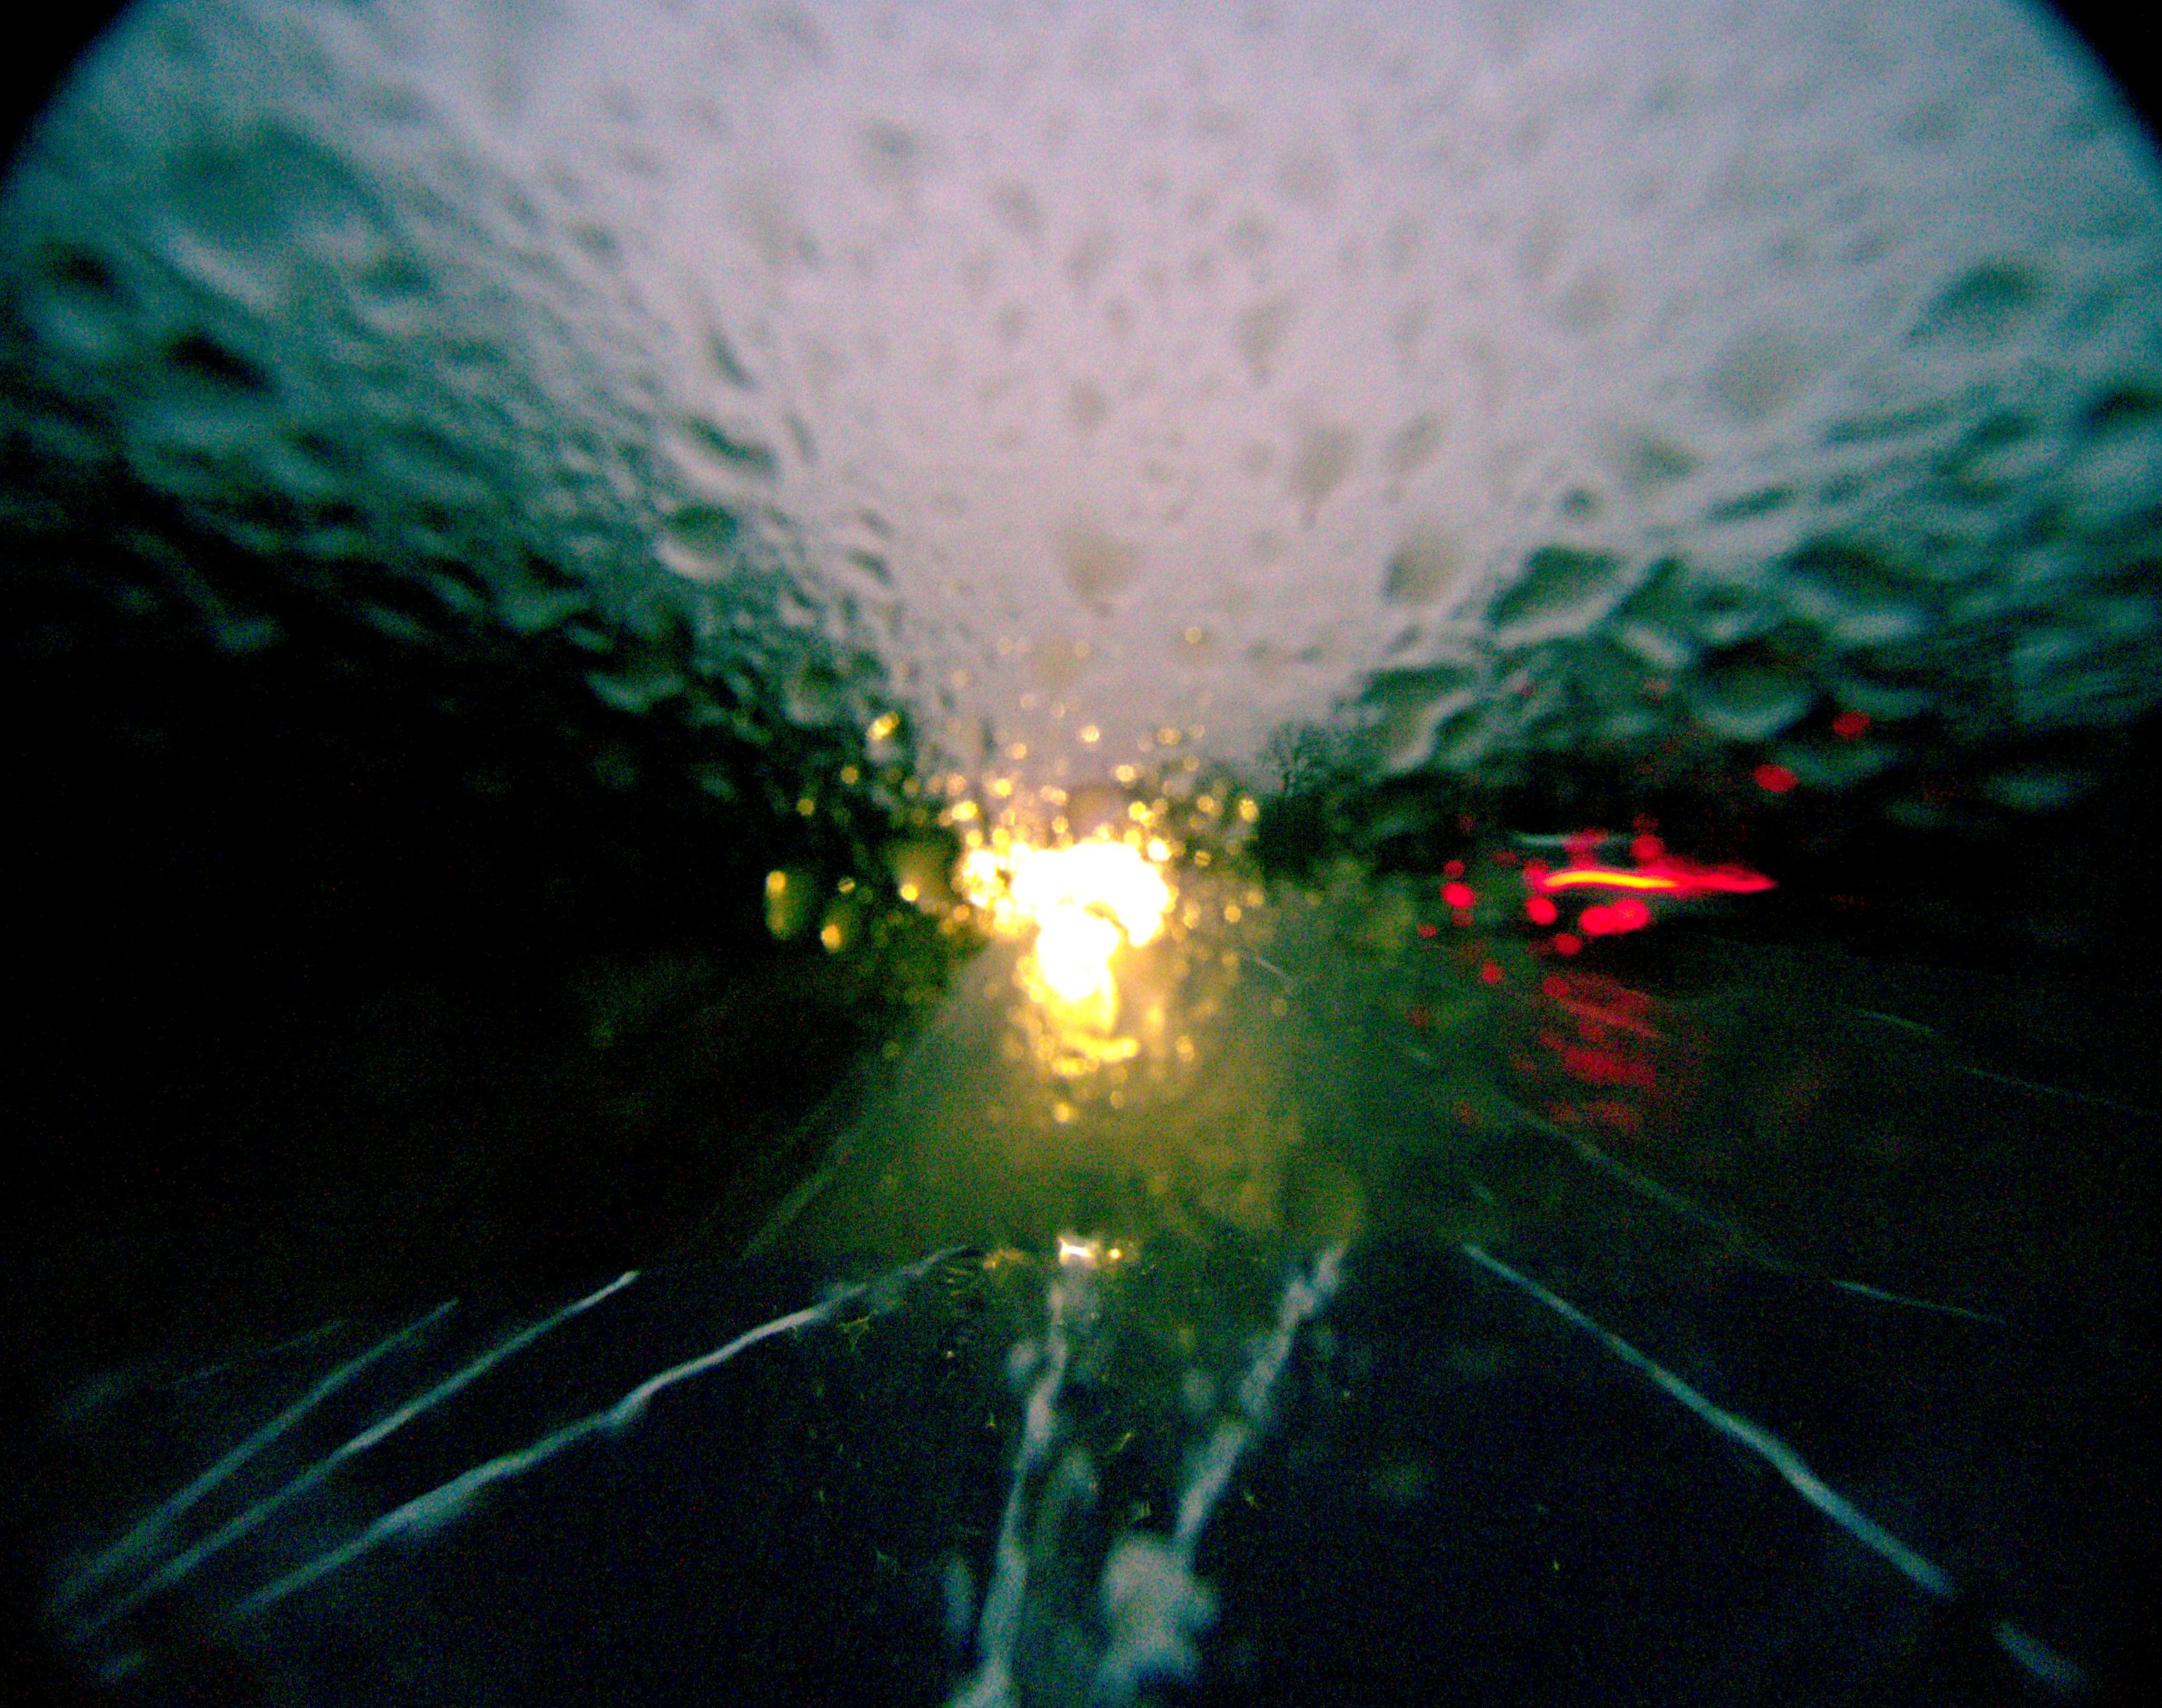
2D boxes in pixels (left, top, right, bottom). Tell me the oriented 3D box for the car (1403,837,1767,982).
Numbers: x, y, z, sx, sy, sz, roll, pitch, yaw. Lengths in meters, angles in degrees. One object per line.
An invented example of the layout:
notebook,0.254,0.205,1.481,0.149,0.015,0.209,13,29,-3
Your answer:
car,6.916,0.623,11.238,1.999,1.639,4.720,-2,1,-4

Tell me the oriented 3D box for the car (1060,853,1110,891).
car,0.104,0.694,31.764,1.850,1.429,4.243,-1,1,-2

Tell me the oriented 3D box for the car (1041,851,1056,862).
car,-4.645,0.325,109.236,1.770,1.488,4.100,-1,0,-7

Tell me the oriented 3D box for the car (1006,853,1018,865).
car,-10.639,0.734,116.482,1.702,1.721,3.997,-2,1,-6

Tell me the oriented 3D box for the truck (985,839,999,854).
truck,-21.640,-1.893,184.627,2.657,3.576,9.832,0,1,-10
